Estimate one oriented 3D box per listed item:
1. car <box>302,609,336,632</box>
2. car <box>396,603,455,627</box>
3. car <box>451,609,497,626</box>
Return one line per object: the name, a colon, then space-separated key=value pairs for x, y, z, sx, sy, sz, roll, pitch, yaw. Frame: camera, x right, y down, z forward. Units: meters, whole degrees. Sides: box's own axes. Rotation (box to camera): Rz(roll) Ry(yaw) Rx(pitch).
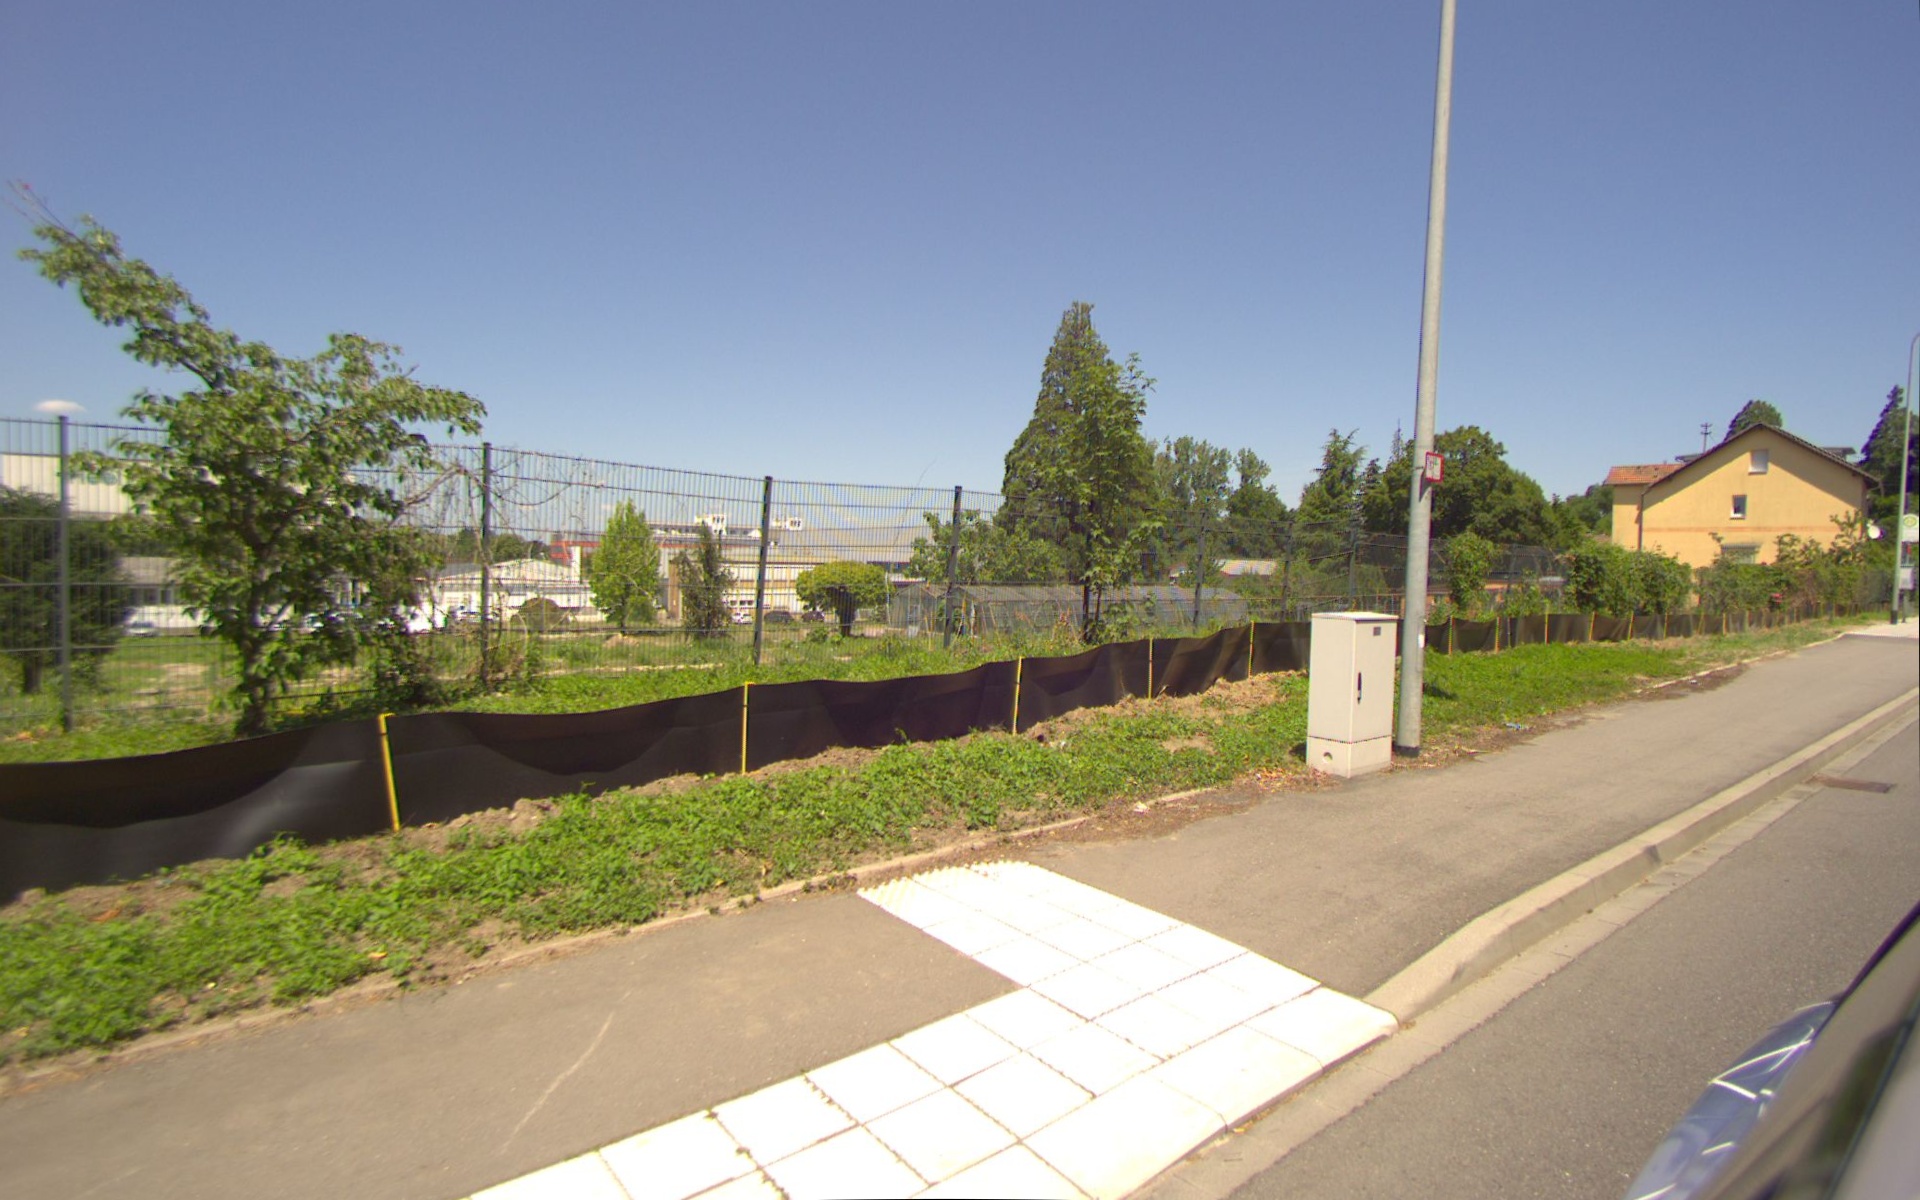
car: x=-53.266 y=1.710 z=84.088 sx=1.964 sy=1.761 sz=3.997 roll=0 pitch=1 yaw=-38
car: x=-47.070 y=1.290 z=89.195 sx=4.254 sy=2.039 sz=1.876 roll=0 pitch=0 yaw=-5
car: x=-49.416 y=1.747 z=102.913 sx=3.781 sy=1.641 sz=1.934 roll=0 pitch=1 yaw=-41
